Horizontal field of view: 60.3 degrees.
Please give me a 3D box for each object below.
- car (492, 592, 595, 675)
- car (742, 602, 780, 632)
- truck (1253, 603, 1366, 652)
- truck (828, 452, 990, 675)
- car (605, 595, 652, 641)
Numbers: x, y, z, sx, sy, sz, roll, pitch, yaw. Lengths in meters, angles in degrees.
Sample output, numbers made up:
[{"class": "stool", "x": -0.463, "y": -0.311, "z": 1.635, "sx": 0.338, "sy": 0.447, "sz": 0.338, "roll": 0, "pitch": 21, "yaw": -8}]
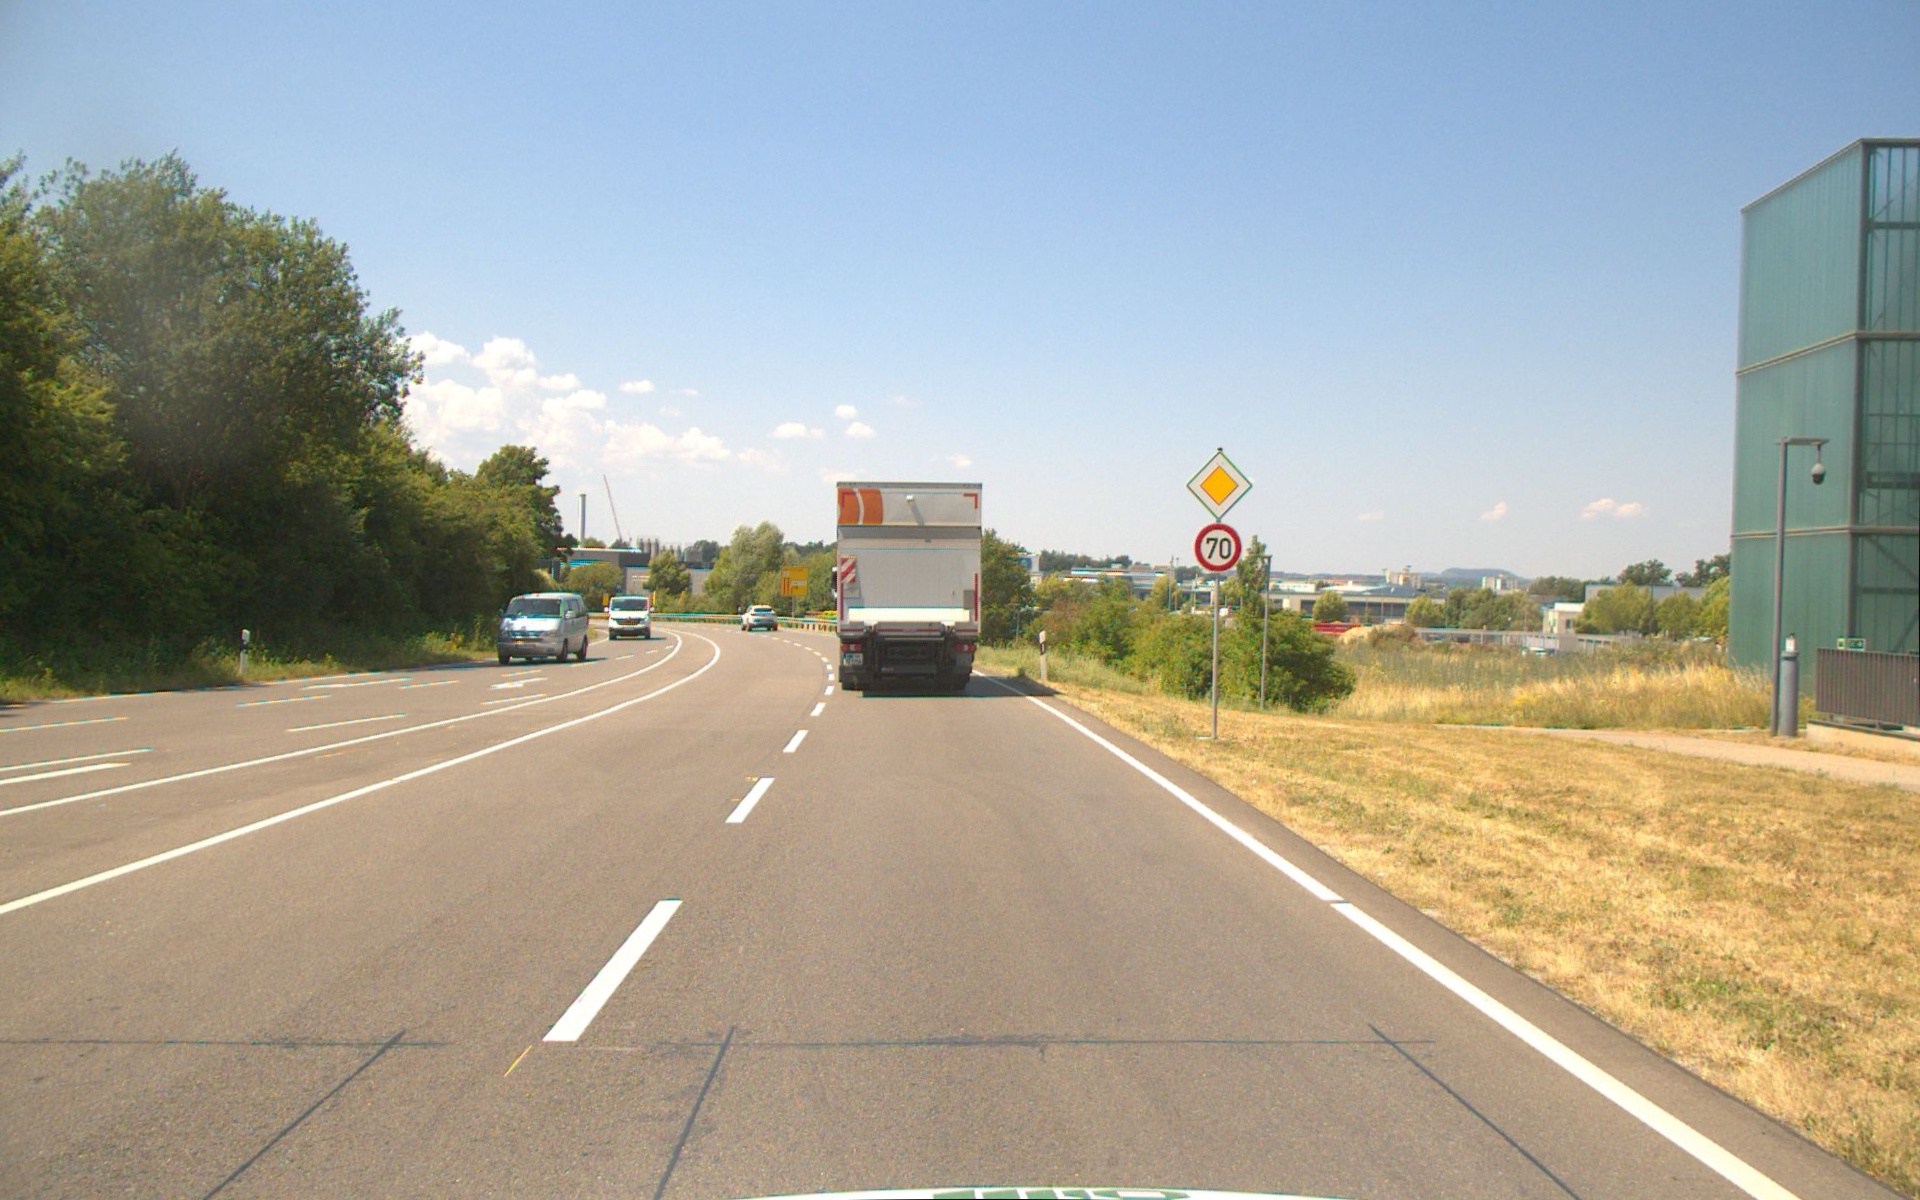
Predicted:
[{"class": "car", "x": -11.796, "y": 0.893, "z": 47.182, "sx": 1.935, "sy": 2.048, "sz": 4.837, "roll": 3, "pitch": 1, "yaw": -4}, {"class": "car", "x": -12.072, "y": 1.035, "z": 100.164, "sx": 1.909, "sy": 1.693, "sz": 3.988, "roll": 2, "pitch": -2, "yaw": -12}, {"class": "truck", "x": 30.700, "y": 2.399, "z": 145.364, "sx": 9.205, "sy": 3.748, "sz": 3.128, "roll": 3, "pitch": 1, "yaw": 26}, {"class": "truck", "x": -0.916, "y": -0.645, "z": 32.649, "sx": 2.746, "sy": 3.776, "sz": 9.106, "roll": 0, "pitch": 0, "yaw": -1}, {"class": "car", "x": -15.509, "y": 0.794, "z": 77.520, "sx": 2.039, "sy": 2.049, "sz": 5.791, "roll": 1, "pitch": 0, "yaw": -11}]
